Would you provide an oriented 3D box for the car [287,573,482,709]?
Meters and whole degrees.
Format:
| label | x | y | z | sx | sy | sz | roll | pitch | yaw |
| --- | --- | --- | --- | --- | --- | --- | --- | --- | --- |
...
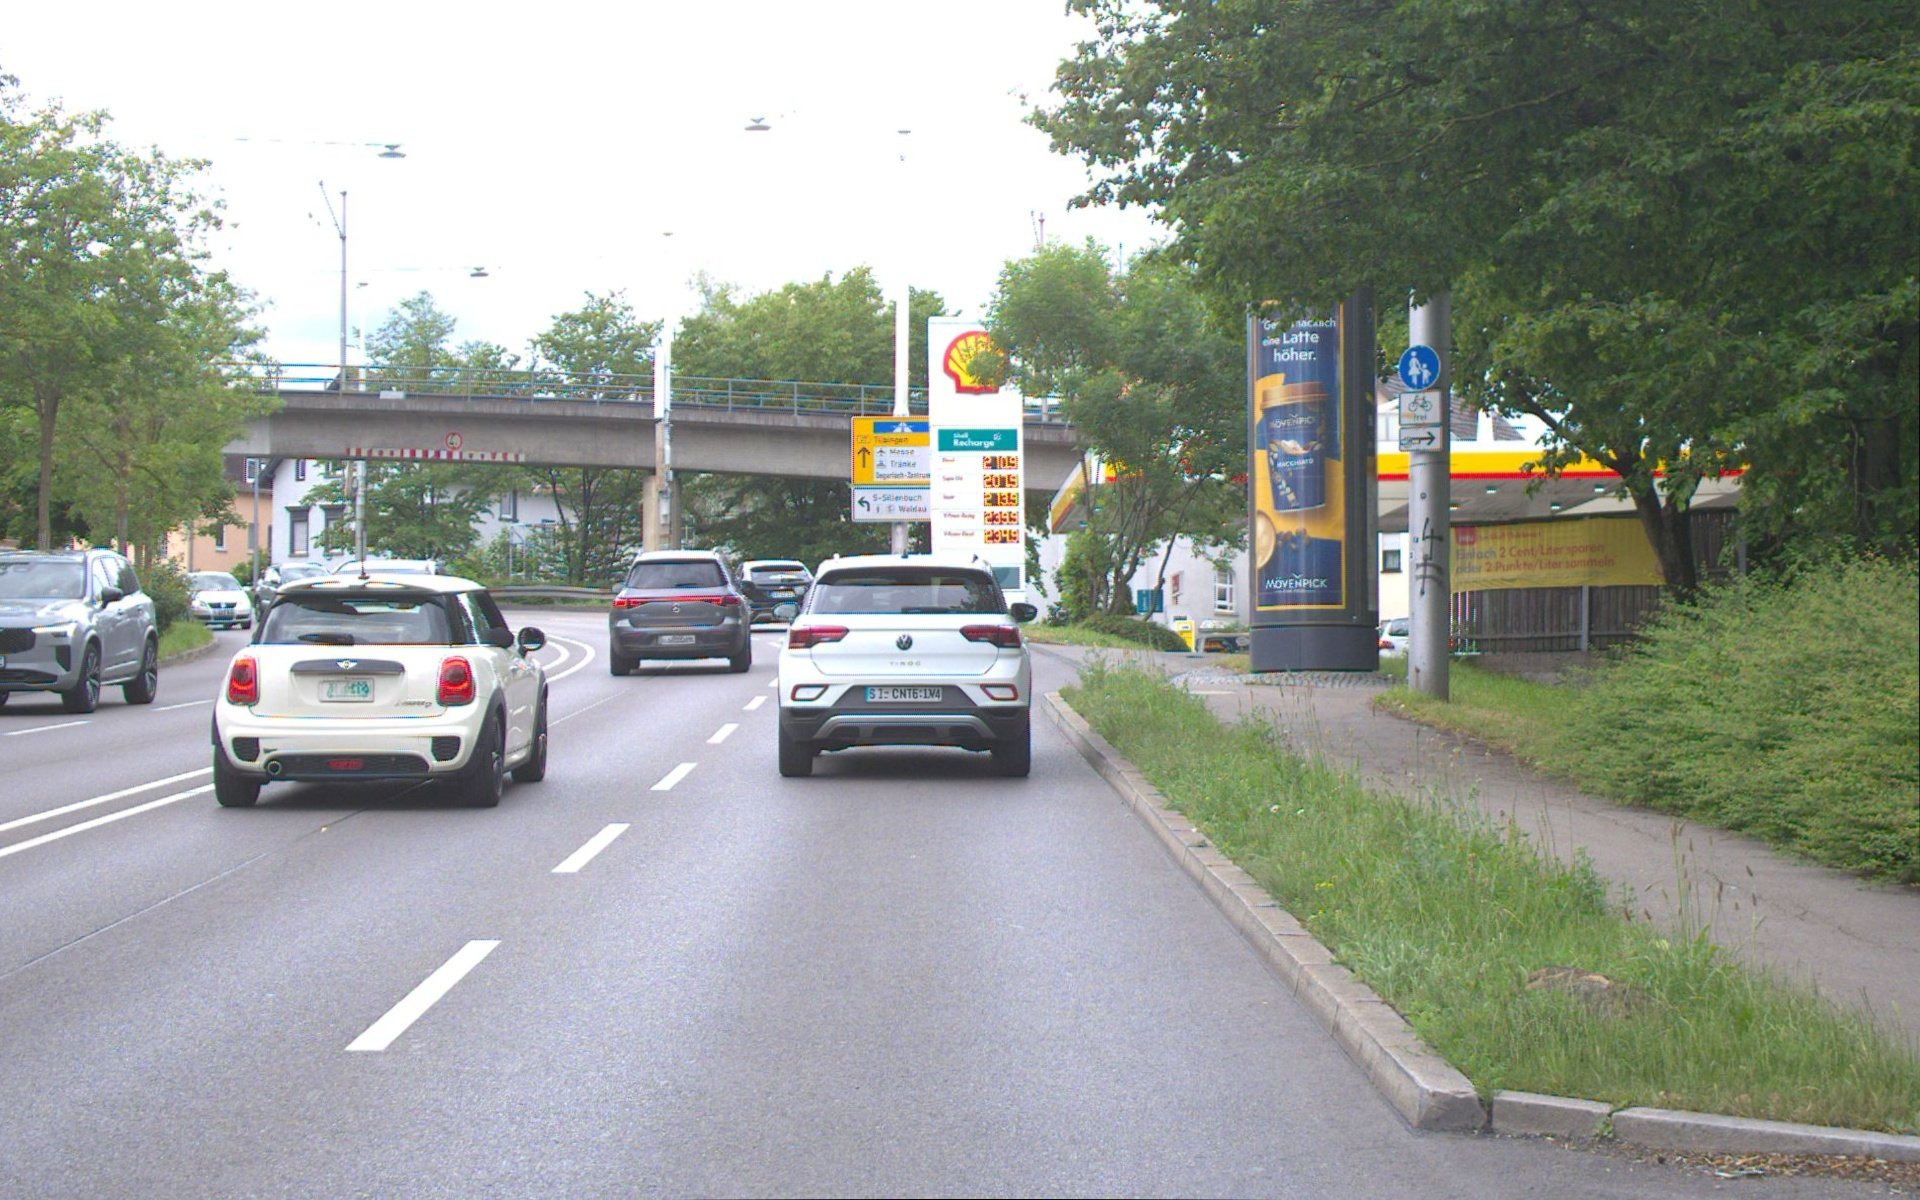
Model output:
| label | x | y | z | sx | sy | sz | roll | pitch | yaw |
| --- | --- | --- | --- | --- | --- | --- | --- | --- | --- |
| car | -7.215 | 0.476 | 43.438 | 1.764 | 1.587 | 4.366 | 0 | 1 | 0 |

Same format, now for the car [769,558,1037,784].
| label | x | y | z | sx | sy | sz | roll | pitch | yaw |
| --- | --- | --- | --- | --- | --- | --- | --- | --- | --- |
| car | -0.398 | 0.459 | 24.865 | 1.797 | 1.514 | 3.457 | 0 | 1 | 0 |

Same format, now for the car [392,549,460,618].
| label | x | y | z | sx | sy | sz | roll | pitch | yaw |
| --- | --- | --- | --- | --- | --- | --- | --- | --- | --- |
| car | -15.366 | -0.494 | 98.832 | 1.897 | 1.931 | 4.001 | 0 | 1 | -9 |

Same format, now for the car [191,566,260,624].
| label | x | y | z | sx | sy | sz | roll | pitch | yaw |
| --- | --- | --- | --- | --- | --- | --- | --- | --- | --- |
| car | -18.730 | -0.145 | 87.778 | 1.565 | 1.426 | 3.892 | 0 | 1 | -10 |

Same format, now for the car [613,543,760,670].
| label | x | y | z | sx | sy | sz | roll | pitch | yaw |
| --- | --- | --- | --- | --- | --- | --- | --- | --- | --- |
| car | -3.659 | 0.068 | 46.433 | 1.722 | 1.634 | 3.457 | 0 | 1 | 0 |

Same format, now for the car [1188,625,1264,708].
| label | x | y | z | sx | sy | sz | roll | pitch | yaw |
| --- | --- | --- | --- | --- | --- | --- | --- | --- | --- |
| car | 6.980 | 1.779 | 90.590 | 1.735 | 2.004 | 4.712 | -1 | -3 | 1 |

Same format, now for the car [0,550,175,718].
| label | x | y | z | sx | sy | sz | roll | pitch | yaw |
| --- | --- | --- | --- | --- | --- | --- | --- | --- | --- |
| car | -9.946 | 0.313 | 37.322 | 1.764 | 1.703 | 4.870 | 0 | 1 | 0 |

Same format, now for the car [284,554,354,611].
| label | x | y | z | sx | sy | sz | roll | pitch | yaw |
| --- | --- | --- | --- | --- | --- | --- | --- | --- | --- |
| car | -17.633 | -0.501 | 94.424 | 1.784 | 1.533 | 4.077 | -1 | 1 | -12 |

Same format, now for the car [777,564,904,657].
| label | x | y | z | sx | sy | sz | roll | pitch | yaw |
| --- | --- | --- | --- | --- | --- | --- | --- | --- | --- |
| car | -1.906 | 0.148 | 53.975 | 1.675 | 1.404 | 3.457 | 0 | 1 | -7 |

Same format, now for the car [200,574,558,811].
| label | x | y | z | sx | sy | sz | roll | pitch | yaw |
| --- | --- | --- | --- | --- | --- | --- | --- | --- | --- |
| car | -3.619 | 0.533 | 21.959 | 1.722 | 1.371 | 3.457 | 0 | 1 | 0 |

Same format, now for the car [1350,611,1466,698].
| label | x | y | z | sx | sy | sz | roll | pitch | yaw |
| --- | --- | --- | --- | --- | --- | --- | --- | --- | --- |
| car | 8.356 | 1.048 | 64.390 | 1.735 | 1.481 | 3.877 | -1 | -3 | 1 |
